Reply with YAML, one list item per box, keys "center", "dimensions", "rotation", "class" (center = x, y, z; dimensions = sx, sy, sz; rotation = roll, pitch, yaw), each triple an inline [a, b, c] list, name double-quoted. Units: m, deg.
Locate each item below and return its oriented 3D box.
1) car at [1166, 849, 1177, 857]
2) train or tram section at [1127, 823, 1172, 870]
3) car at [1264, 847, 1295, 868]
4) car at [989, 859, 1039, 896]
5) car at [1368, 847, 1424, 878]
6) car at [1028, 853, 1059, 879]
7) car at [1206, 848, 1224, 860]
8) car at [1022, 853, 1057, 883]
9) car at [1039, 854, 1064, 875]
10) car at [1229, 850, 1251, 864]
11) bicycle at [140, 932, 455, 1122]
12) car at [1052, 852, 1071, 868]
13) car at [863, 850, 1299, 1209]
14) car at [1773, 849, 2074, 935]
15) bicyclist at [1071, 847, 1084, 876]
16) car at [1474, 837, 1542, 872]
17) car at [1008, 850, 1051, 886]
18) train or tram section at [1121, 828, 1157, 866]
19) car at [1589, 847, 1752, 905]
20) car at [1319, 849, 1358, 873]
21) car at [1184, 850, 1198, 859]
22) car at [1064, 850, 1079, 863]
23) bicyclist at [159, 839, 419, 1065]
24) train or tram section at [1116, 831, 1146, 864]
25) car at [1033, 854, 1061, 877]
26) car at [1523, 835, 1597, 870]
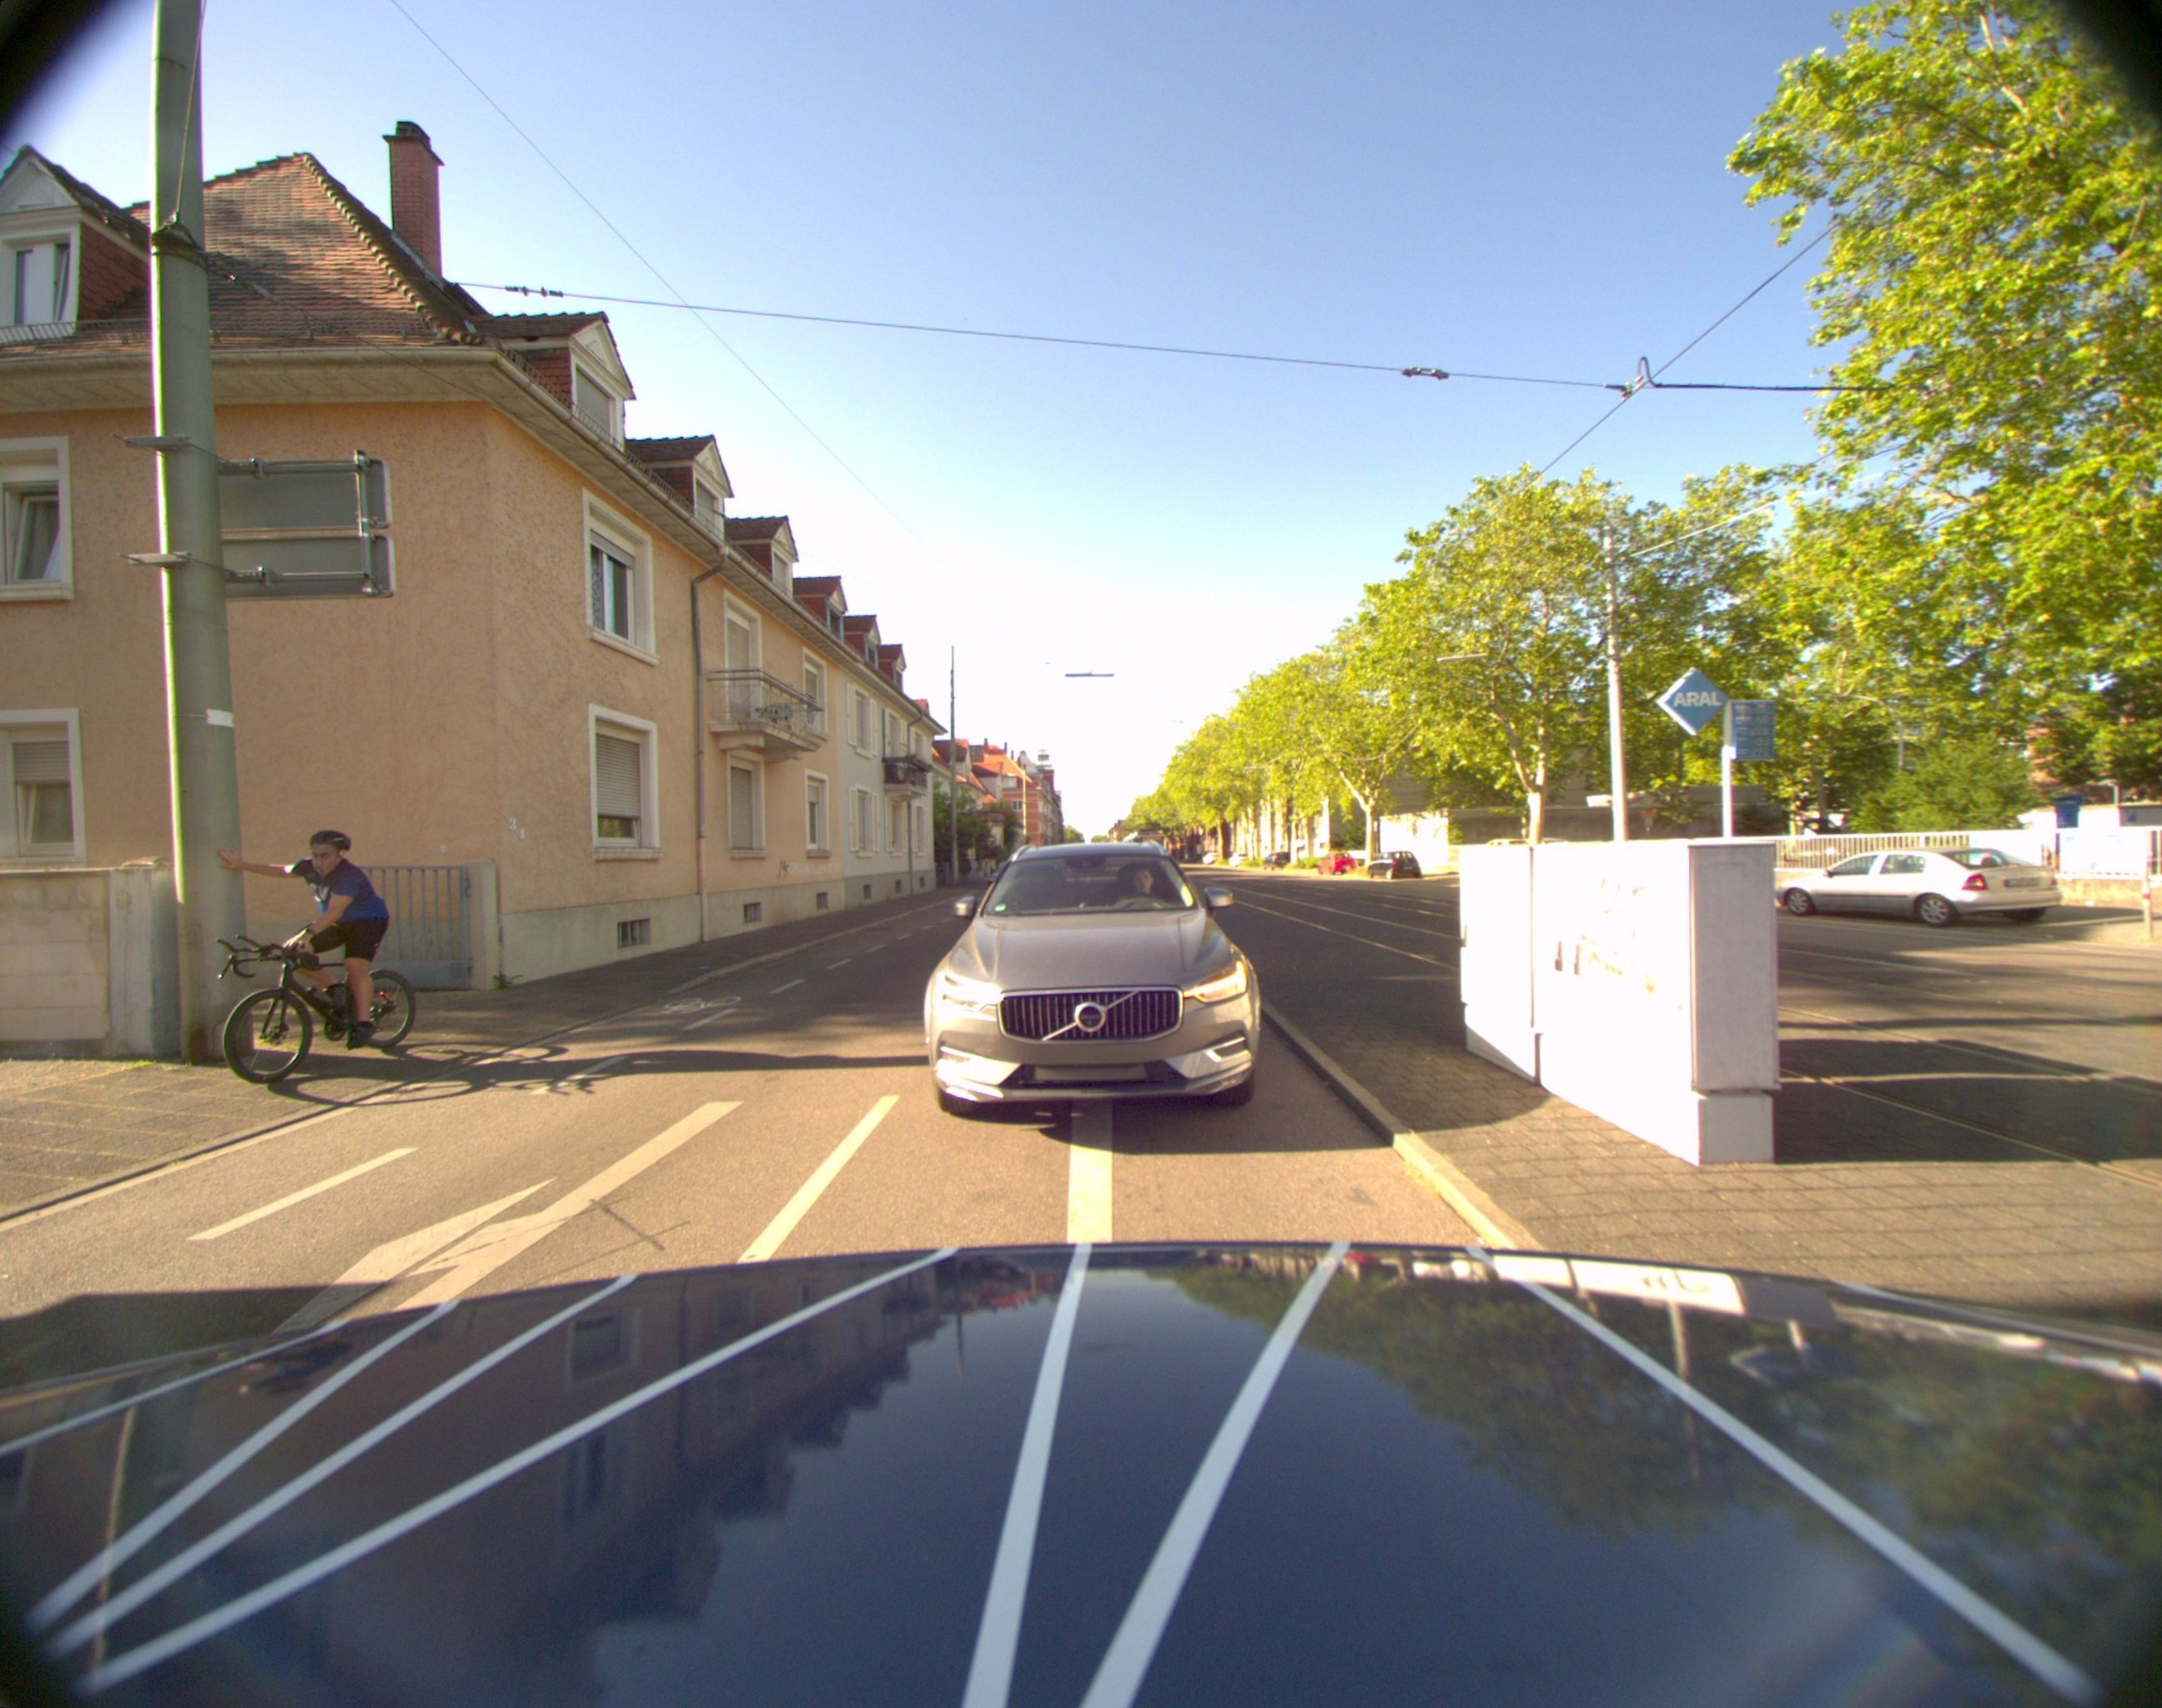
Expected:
- center: [19.271, -0.192, 161.876]
  dimensions: [1.695, 1.440, 3.749]
  rotation: [-3, 0, 1]
  class: "car"
- center: [5.791, -0.643, 66.367]
  dimensions: [2.717, 3.643, 12.653]
  rotation: [-1, 0, 0]
  class: "train or tram section"
- center: [17.139, 0.276, 65.888]
  dimensions: [1.695, 1.648, 3.749]
  rotation: [-3, 0, 1]
  class: "car"
- center: [-3.221, 1.086, 37.046]
  dimensions: [1.695, 1.571, 3.815]
  rotation: [-3, 0, 5]
  class: "car"
- center: [16.887, 0.429, 40.894]
  dimensions: [1.599, 1.498, 3.304]
  rotation: [-3, 0, 1]
  class: "car"
- center: [-2.630, 0.837, 54.004]
  dimensions: [1.793, 1.673, 3.814]
  rotation: [-3, 0, 2]
  class: "car"
- center: [17.795, 0.028, 100.713]
  dimensions: [1.695, 1.440, 3.749]
  rotation: [-3, 0, 1]
  class: "car"
- center: [-2.583, 0.856, 48.484]
  dimensions: [1.793, 1.673, 3.814]
  rotation: [-3, 0, 2]
  class: "car"
- center: [-2.550, 0.861, 67.074]
  dimensions: [1.793, 1.673, 3.814]
  rotation: [-3, 0, 2]
  class: "car"
- center: [17.465, 0.295, 83.542]
  dimensions: [1.695, 1.440, 3.749]
  rotation: [-3, 0, 1]
  class: "car"
- center: [-6.013, 1.259, 6.009]
  dimensions: [0.592, 1.062, 1.775]
  rotation: [4, 0, 1]
  class: "bicycle"
- center: [-2.149, 0.637, 85.368]
  dimensions: [1.793, 1.673, 3.814]
  rotation: [-3, 0, 2]
  class: "car"
- center: [0.032, 0.829, 5.752]
  dimensions: [1.998, 1.628, 4.306]
  rotation: [-2, 0, 1]
  class: "car"
- center: [16.227, 0.642, 14.980]
  dimensions: [1.695, 1.395, 3.813]
  rotation: [-3, 0, 1]
  class: "car"
- center: [-0.202, 0.423, 43.658]
  dimensions: [0.685, 1.611, 0.855]
  rotation: [-2, 1, 1]
  class: "bicyclist"
- center: [21.548, 0.017, 38.472]
  dimensions: [1.599, 1.606, 3.304]
  rotation: [-2, 0, 1]
  class: "car"
- center: [-2.822, 0.743, 42.819]
  dimensions: [1.793, 1.828, 5.149]
  rotation: [-3, 0, 2]
  class: "car"
- center: [5.860, -0.693, 78.981]
  dimensions: [2.717, 3.643, 12.653]
  rotation: [-1, 0, 0]
  class: "train or tram section"
- center: [16.413, 0.562, 21.415]
  dimensions: [1.695, 1.395, 3.749]
  rotation: [-3, 0, 1]
  class: "car"
- center: [16.879, 0.437, 49.865]
  dimensions: [1.599, 1.498, 2.622]
  rotation: [-3, 0, 1]
  class: "car"
- center: [18.202, 0.074, 125.522]
  dimensions: [1.695, 1.440, 3.749]
  rotation: [-3, 0, 1]
  class: "car"
- center: [-1.291, 0.367, 107.101]
  dimensions: [1.793, 1.673, 3.814]
  rotation: [-3, 0, 2]
  class: "car"
- center: [-6.212, 0.723, 6.029]
  dimensions: [1.051, 1.599, 0.885]
  rotation: [4, 0, 1]
  class: "bicyclist"
- center: [5.939, -0.776, 91.601]
  dimensions: [2.717, 3.643, 12.653]
  rotation: [-1, 0, 0]
  class: "train or tram section"
- center: [-2.718, 0.888, 61.029]
  dimensions: [1.793, 1.673, 3.814]
  rotation: [-3, 0, 2]
  class: "car"
- center: [23.881, -0.079, 38.024]
  dimensions: [1.599, 1.583, 3.304]
  rotation: [-2, 0, 1]
  class: "car"
